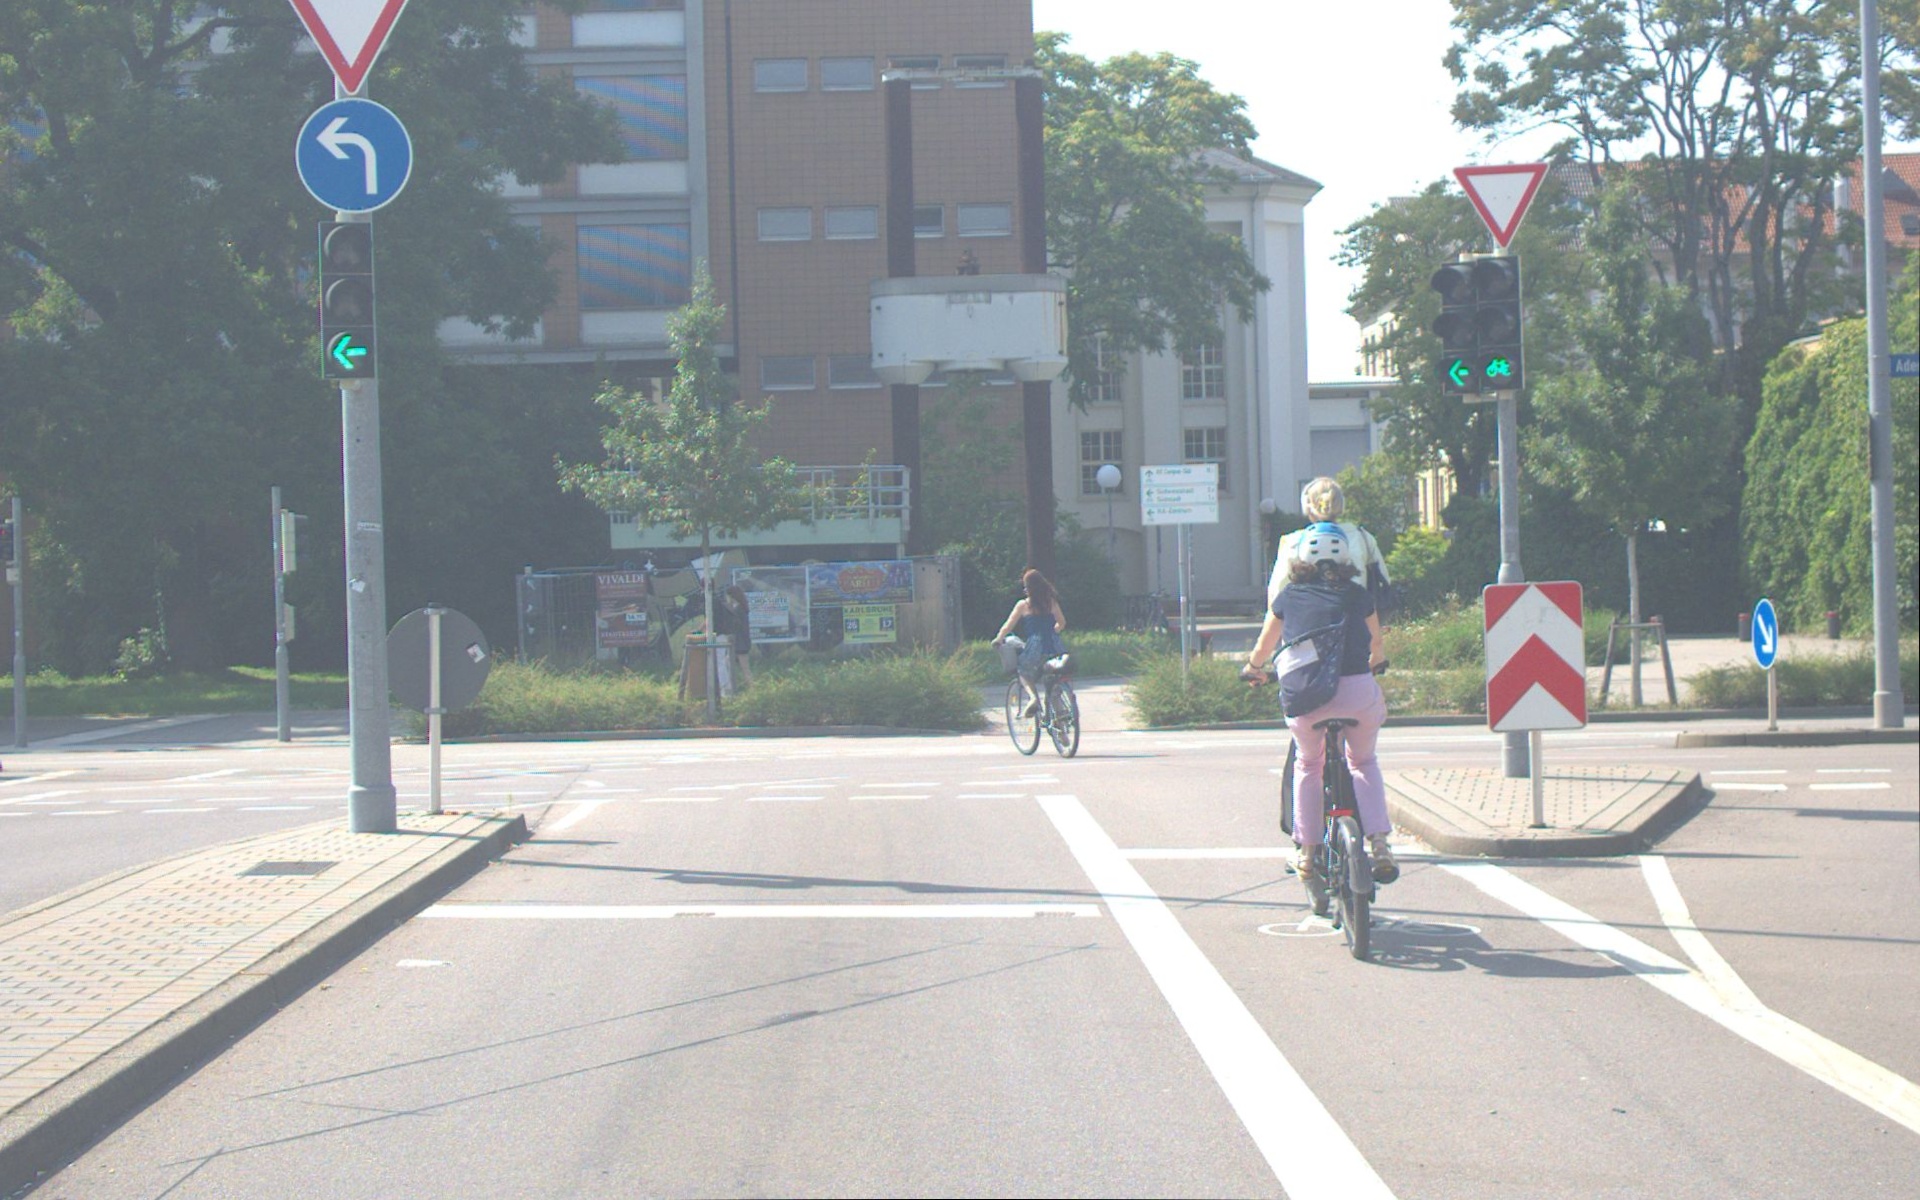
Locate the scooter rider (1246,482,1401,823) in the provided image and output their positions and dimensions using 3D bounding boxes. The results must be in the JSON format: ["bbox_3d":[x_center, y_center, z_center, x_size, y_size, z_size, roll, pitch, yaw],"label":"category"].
[{"bbox_3d":[1.848,0.261,17.525,0.670,1.694,0.539,-2,1,-2],"label":"scooter rider"}]

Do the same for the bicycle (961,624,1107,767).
[{"bbox_3d":[0.651,0.843,31.221,0.693,1.151,2.372,-2,2,-14],"label":"bicycle"}]

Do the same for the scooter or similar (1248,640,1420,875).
[{"bbox_3d":[1.868,0.761,17.390,0.556,1.056,2.004,-2,1,-2],"label":"scooter or similar"}]

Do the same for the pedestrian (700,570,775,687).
[{"bbox_3d":[-3.328,0.420,51.562,0.877,1.698,0.707,-2,2,16],"label":"pedestrian"}]

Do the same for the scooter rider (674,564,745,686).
[{"bbox_3d":[-3.603,0.351,49.412,0.803,1.733,0.688,-1,0,15],"label":"scooter rider"}]

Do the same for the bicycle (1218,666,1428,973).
[{"bbox_3d":[1.403,0.821,13.577,0.556,1.056,2.004,0,1,-2],"label":"bicycle"}]

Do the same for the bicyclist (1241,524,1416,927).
[{"bbox_3d":[1.404,0.463,13.187,0.548,1.491,0.804,-1,0,-2],"label":"bicyclist"}]

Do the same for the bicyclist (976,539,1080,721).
[{"bbox_3d":[0.614,0.259,31.244,0.690,1.593,0.844,-3,2,-14],"label":"bicyclist"}]

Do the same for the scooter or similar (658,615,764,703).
[{"bbox_3d":[-3.582,0.846,49.480,1.364,1.230,0.585,-1,0,15],"label":"scooter or similar"}]
